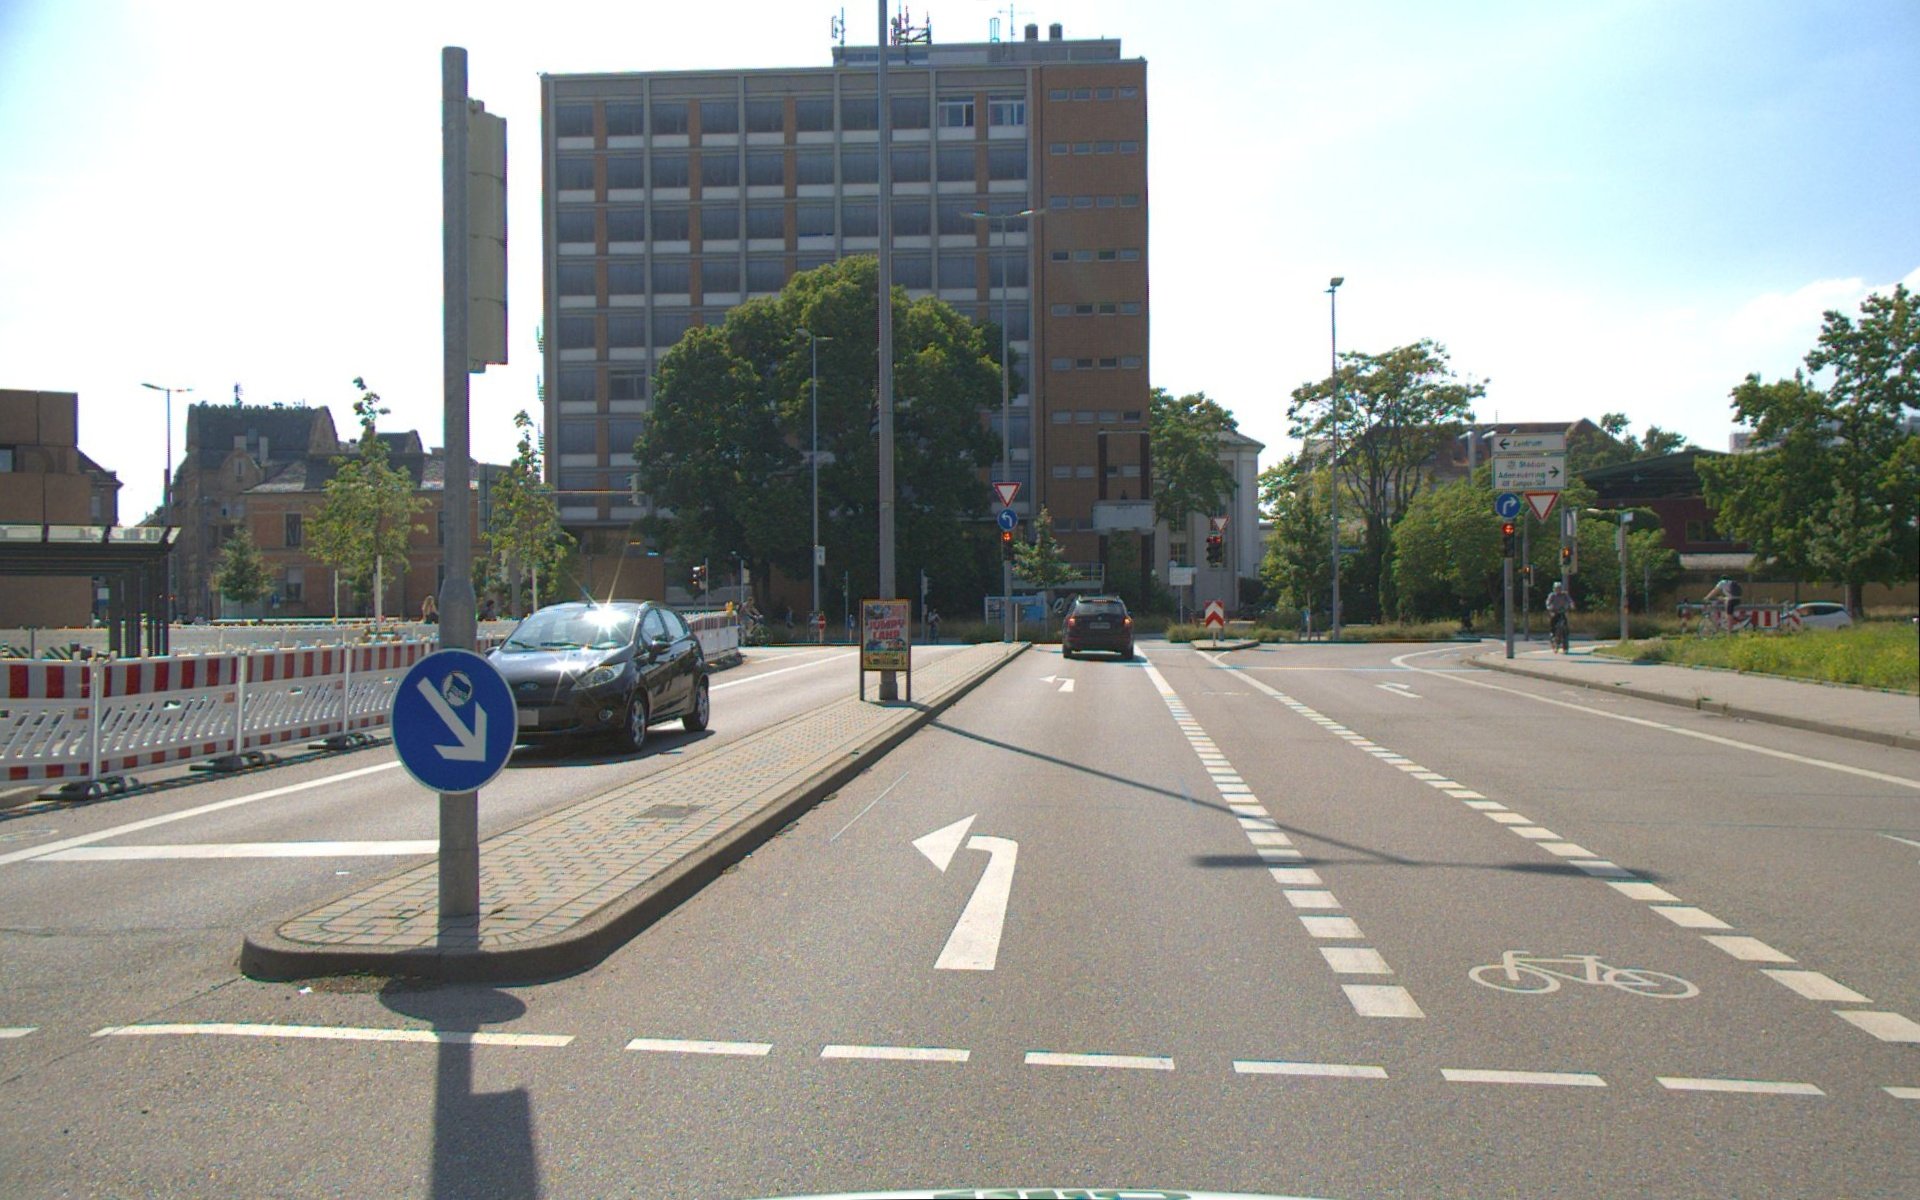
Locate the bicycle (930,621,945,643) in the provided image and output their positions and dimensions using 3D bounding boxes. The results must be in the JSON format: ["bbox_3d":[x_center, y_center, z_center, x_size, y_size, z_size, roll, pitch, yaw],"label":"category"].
[{"bbox_3d":[-1.074,1.530,78.545,0.606,0.977,1.968,-3,0,0],"label":"bicycle"}]

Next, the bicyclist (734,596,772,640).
[{"bbox_3d":[-7.174,0.627,57.347,1.141,1.500,0.564,-1,0,17],"label":"bicyclist"}]

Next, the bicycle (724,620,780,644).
[{"bbox_3d":[-7.211,1.120,57.355,1.850,0.806,0.561,-1,1,18],"label":"bicycle"}]

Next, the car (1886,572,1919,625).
[{"bbox_3d":[39.241,-0.098,65.612,3.902,2.049,2.002,-1,0,7],"label":"car"}]

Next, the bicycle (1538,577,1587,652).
[{"bbox_3d":[14.883,0.342,40.880,0.664,1.796,1.812,-1,0,5],"label":"bicycle"}]

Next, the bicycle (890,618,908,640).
[{"bbox_3d":[-2.974,1.407,80.623,0.689,0.994,2.031,-1,0,3],"label":"bicycle"}]

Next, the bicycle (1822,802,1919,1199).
[{"bbox_3d":[2.686,1.023,3.516,0.584,0.948,2.027,0,0,-2],"label":"bicycle"}]

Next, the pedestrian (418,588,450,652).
[{"bbox_3d":[-15.070,0.573,47.362,0.723,1.783,1.108,-1,-2,-11],"label":"pedestrian"}]

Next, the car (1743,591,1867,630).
[{"bbox_3d":[33.645,0.434,65.945,3.903,1.490,2.001,-1,-1,4],"label":"car"}]

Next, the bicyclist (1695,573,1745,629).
[{"bbox_3d":[20.473,0.031,44.574,0.491,1.496,1.128,2,-1,-37],"label":"bicyclist"}]

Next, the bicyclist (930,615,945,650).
[{"bbox_3d":[-1.074,1.530,78.545,0.606,1.609,1.014,-3,0,0],"label":"bicyclist"}]

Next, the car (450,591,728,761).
[{"bbox_3d":[-3.636,0.687,16.898,1.631,1.476,3.820,-2,0,5],"label":"car"}]

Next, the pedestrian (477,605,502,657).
[{"bbox_3d":[-13.894,0.917,48.829,0.619,1.518,0.615,-1,0,-11],"label":"pedestrian"}]

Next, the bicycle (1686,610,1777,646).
[{"bbox_3d":[20.678,0.745,44.377,0.668,0.932,2.139,-1,0,-37],"label":"bicycle"}]

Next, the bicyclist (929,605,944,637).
[{"bbox_3d":[-1.104,0.983,78.549,0.606,1.468,0.920,-3,0,0],"label":"bicyclist"}]

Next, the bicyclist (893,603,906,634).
[{"bbox_3d":[-2.942,0.902,80.366,0.528,1.441,1.030,-2,-1,3],"label":"bicyclist"}]

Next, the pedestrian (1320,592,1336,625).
[{"bbox_3d":[21.450,0.482,96.499,0.777,1.907,0.639,-2,0,18],"label":"pedestrian"}]

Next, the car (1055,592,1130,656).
[{"bbox_3d":[3.278,0.562,40.710,1.742,1.468,3.820,1,0,5],"label":"car"}]

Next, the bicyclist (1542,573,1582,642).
[{"bbox_3d":[14.891,0.188,40.916,0.664,1.684,0.919,-1,0,5],"label":"bicyclist"}]
